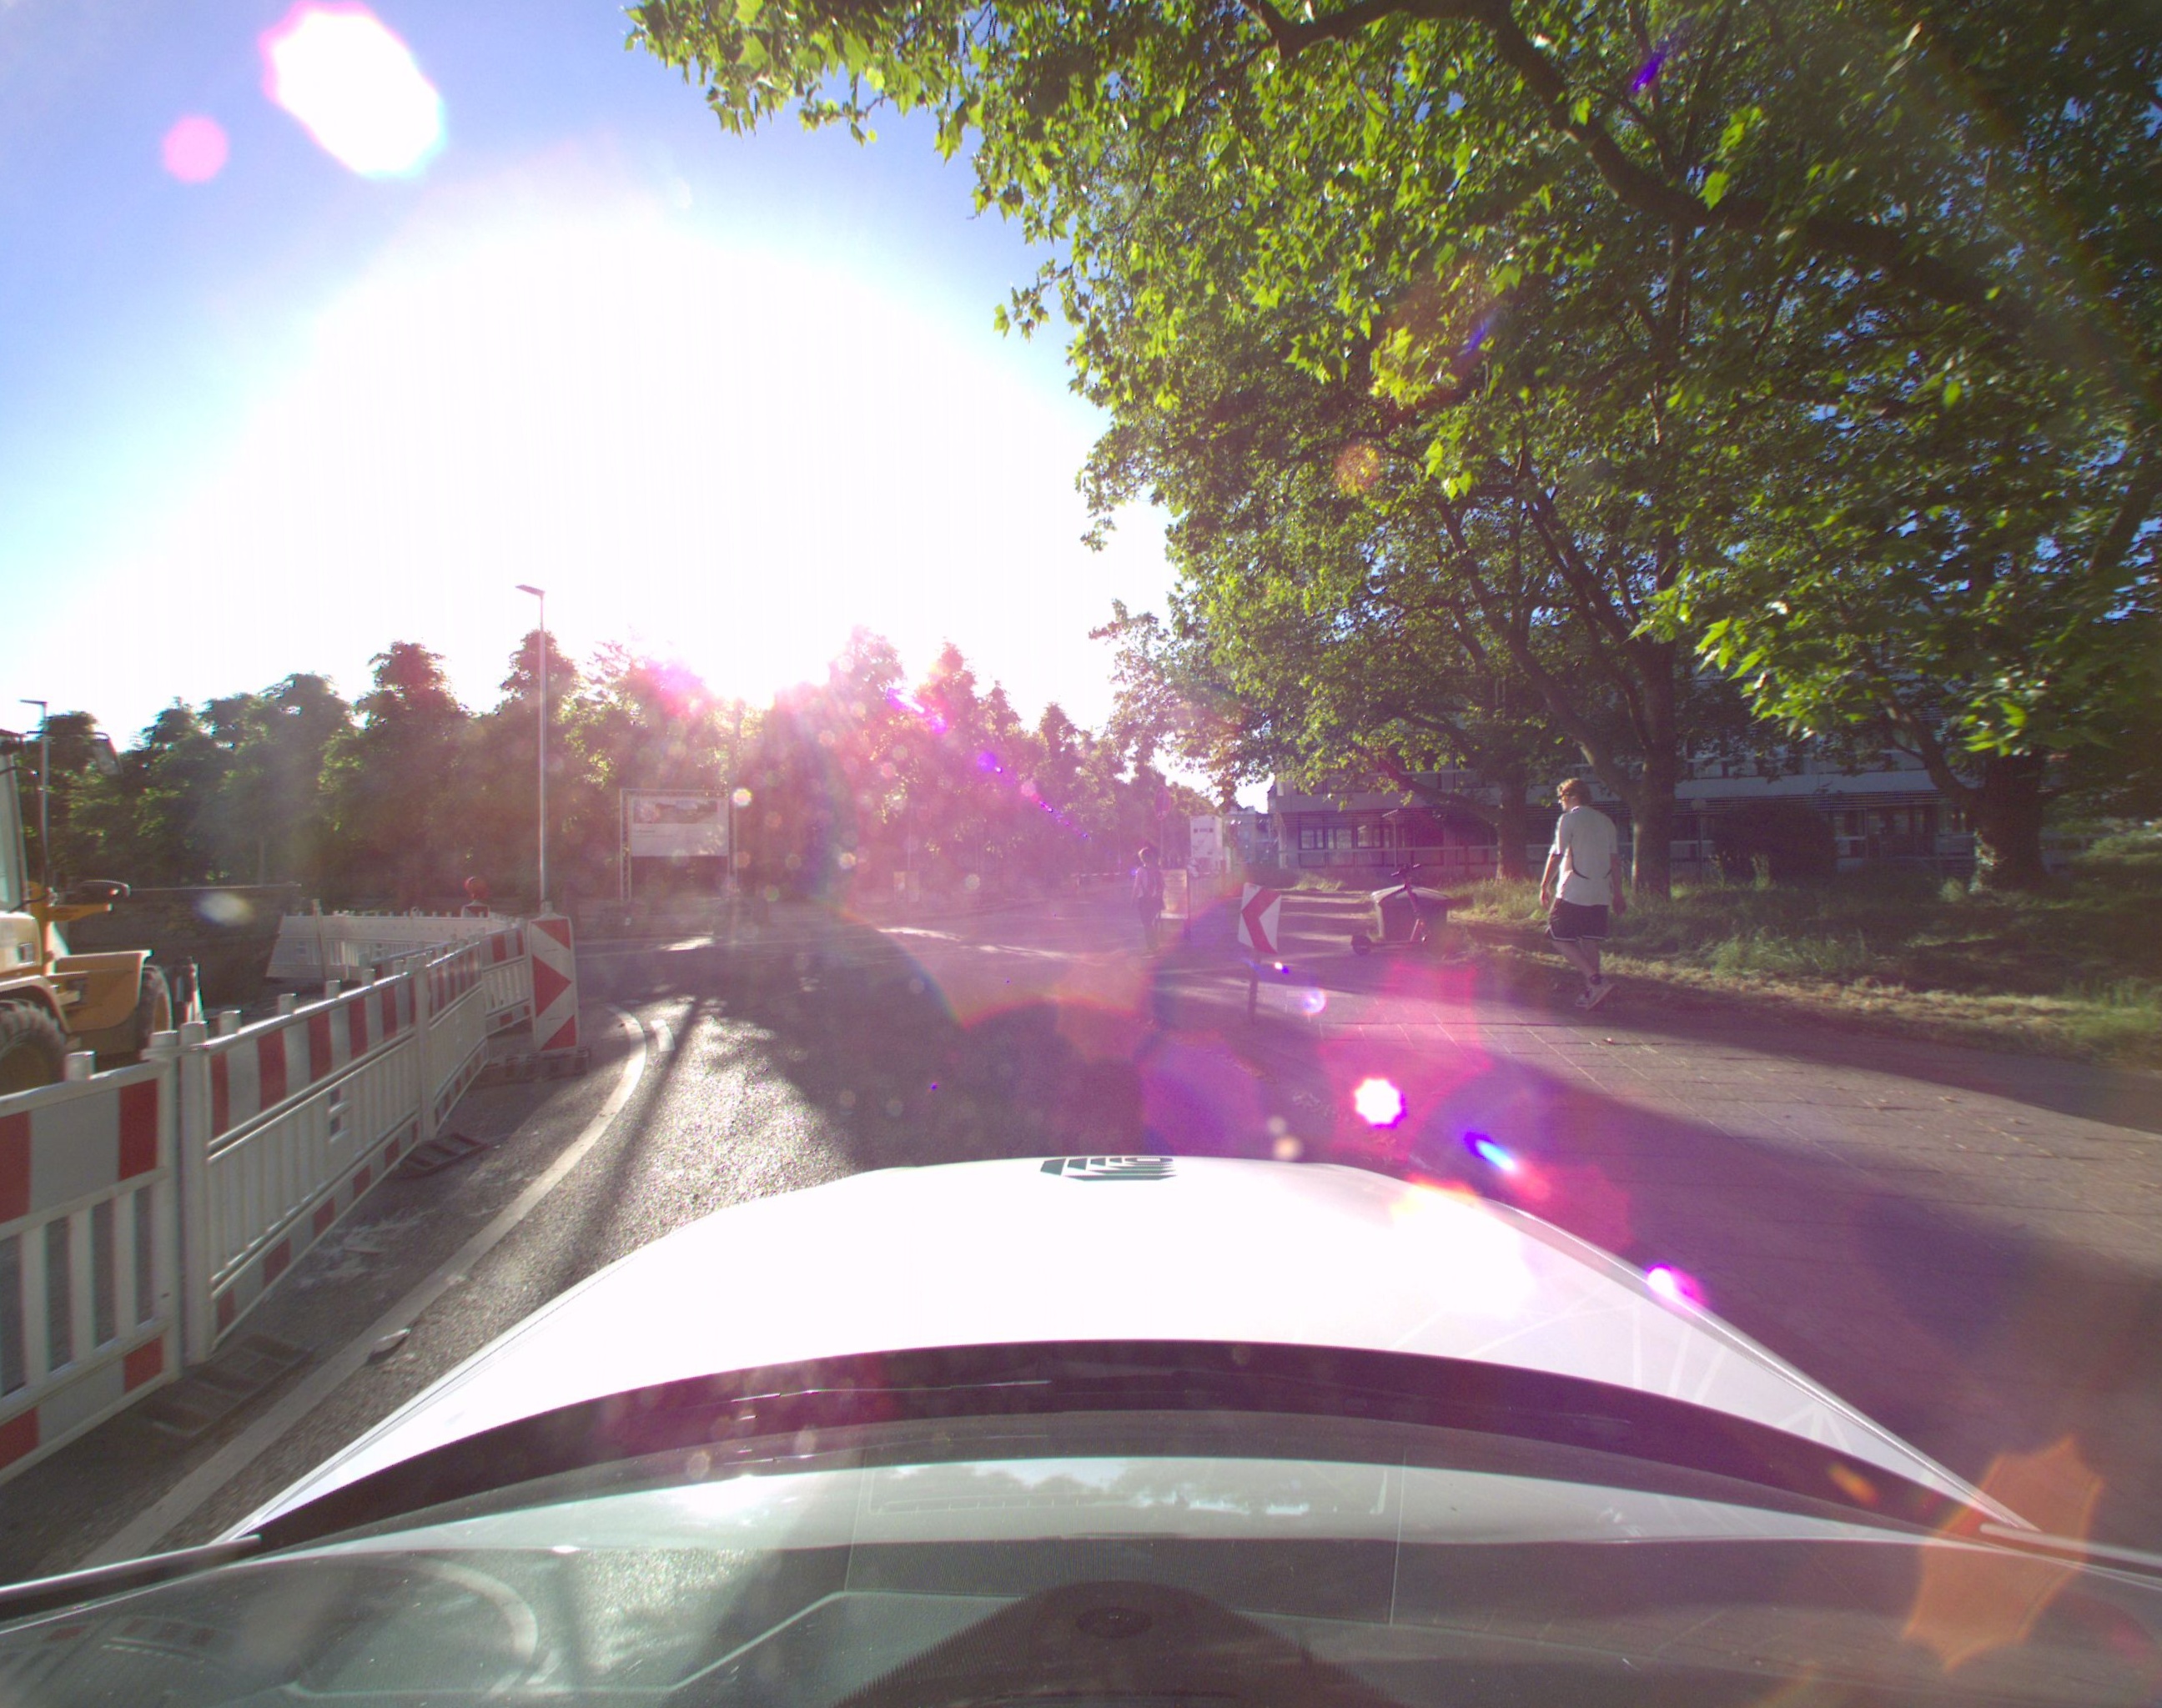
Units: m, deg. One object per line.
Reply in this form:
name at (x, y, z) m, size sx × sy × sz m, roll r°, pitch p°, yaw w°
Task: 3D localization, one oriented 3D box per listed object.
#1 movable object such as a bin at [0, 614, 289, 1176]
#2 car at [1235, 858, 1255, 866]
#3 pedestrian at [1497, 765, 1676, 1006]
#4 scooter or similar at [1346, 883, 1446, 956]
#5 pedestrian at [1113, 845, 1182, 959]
movable object such as a bin at (-7.965, 0.295, 5.418) m, size 2.576 × 3.031 × 5.871 m, roll -2°, pitch -1°, yaw -32°
car at (39.348, 1.958, 195.459) m, size 4.525 × 1.790 × 2.007 m, roll -1°, pitch 0°, yaw 13°
pedestrian at (4.123, 0.238, 6.737) m, size 0.743 × 1.813 × 1.132 m, roll 0°, pitch 0°, yaw -5°
scooter or similar at (4.242, 0.882, 11.015) m, size 1.140 × 0.914 × 0.420 m, roll -3°, pitch -2°, yaw 7°
pedestrian at (0.988, 0.696, 12.208) m, size 0.710 × 1.623 × 0.933 m, roll -1°, pitch -1°, yaw -17°
